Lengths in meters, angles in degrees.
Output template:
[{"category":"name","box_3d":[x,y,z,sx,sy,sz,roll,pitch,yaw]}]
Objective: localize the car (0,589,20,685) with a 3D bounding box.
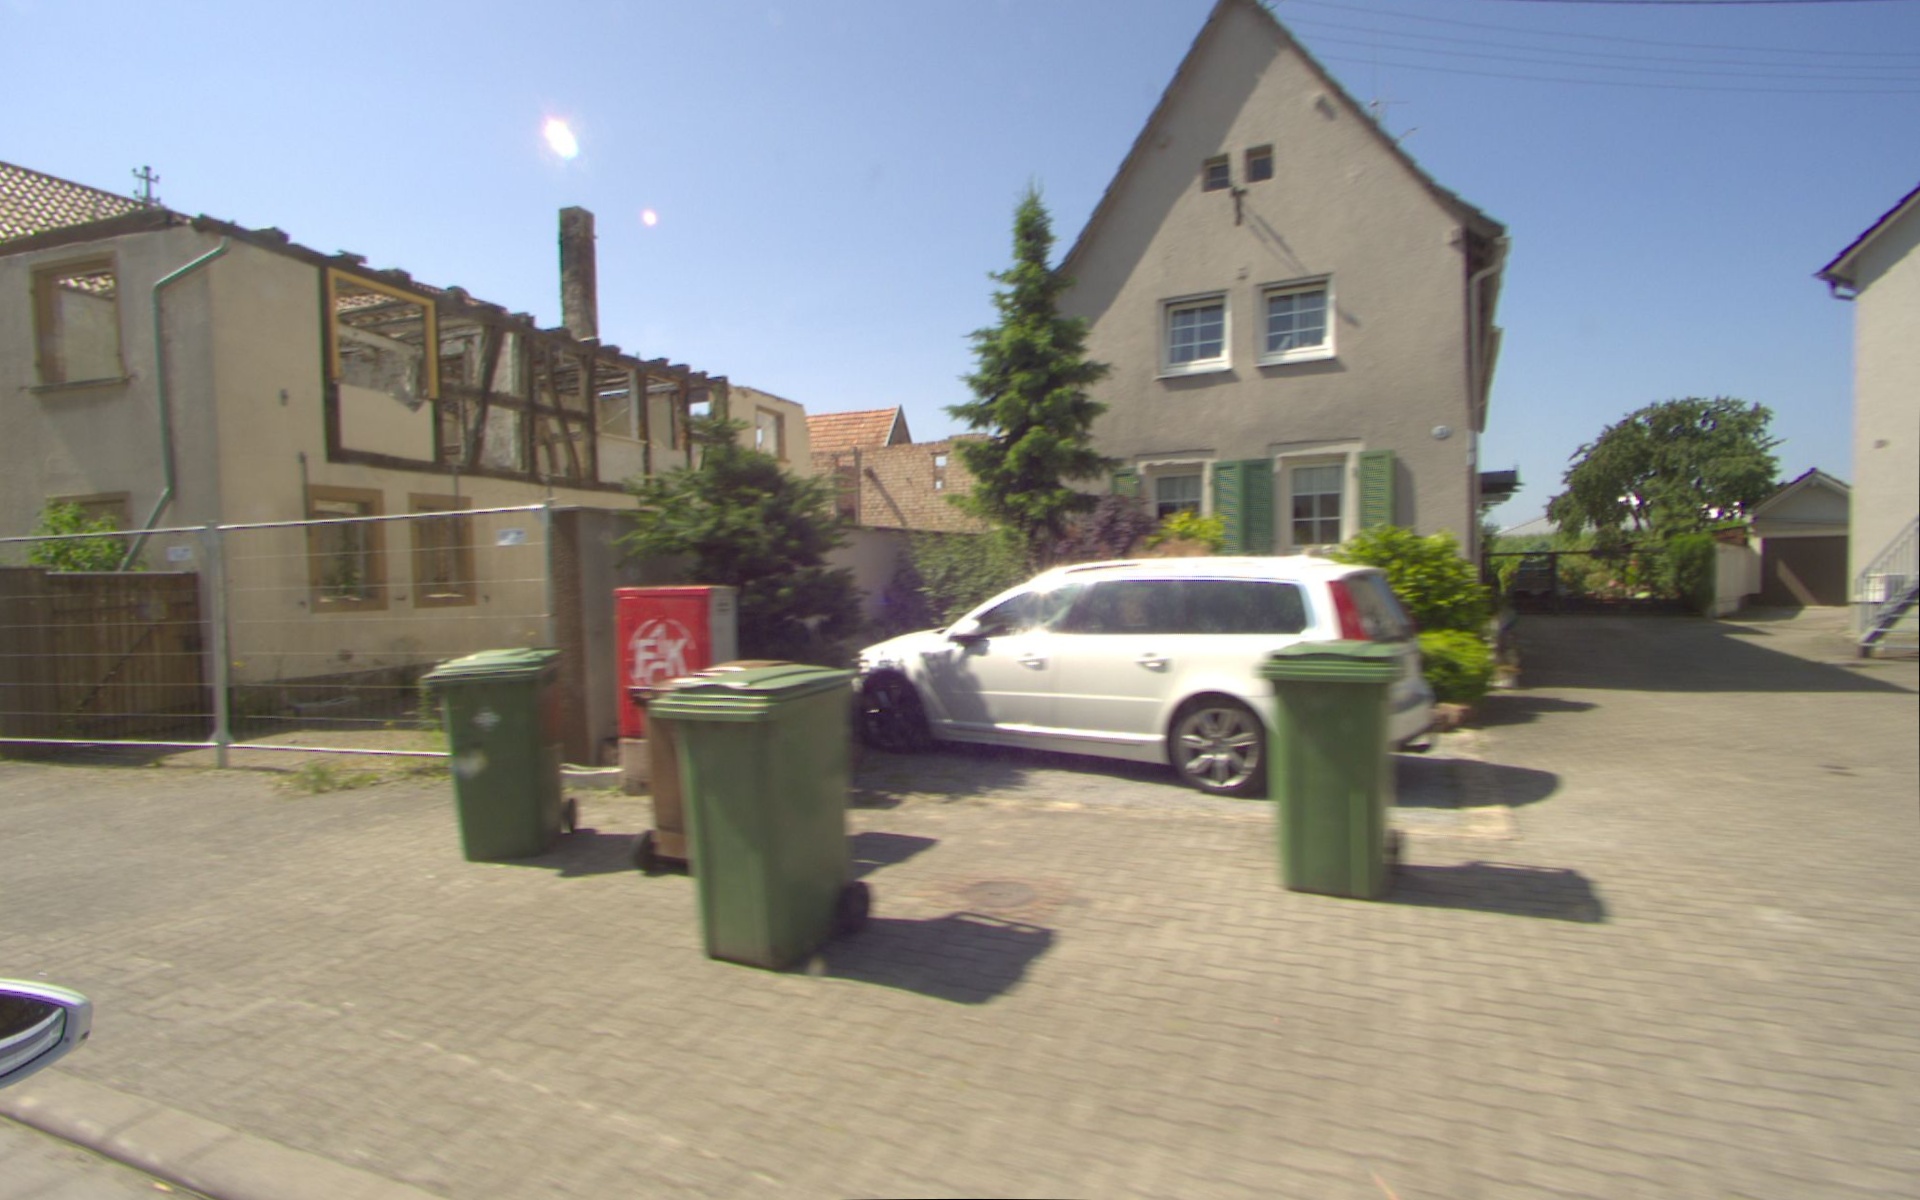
[{"category":"car","box_3d":[-16.728,0.694,14.511,1.836,1.528,4.092,-1,2,17]}]

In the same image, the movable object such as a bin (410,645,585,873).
[{"category":"movable object such as a bin","box_3d":[-2.491,0.822,5.480,0.660,1.087,0.761,-2,2,-10]}]

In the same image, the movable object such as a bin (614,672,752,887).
[{"category":"movable object such as a bin","box_3d":[-1.376,0.862,4.992,0.455,0.962,0.443,0,2,31]}]

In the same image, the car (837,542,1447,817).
[{"category":"car","box_3d":[1.224,0.415,7.654,4.242,1.549,1.803,0,3,38]}]

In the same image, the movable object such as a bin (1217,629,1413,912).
[{"category":"movable object such as a bin","box_3d":[1.613,0.700,4.505,0.743,1.096,0.719,0,2,27]}]

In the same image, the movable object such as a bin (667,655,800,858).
[{"category":"movable object such as a bin","box_3d":[-1.205,0.808,5.361,0.489,0.984,0.464,0,2,30]}]

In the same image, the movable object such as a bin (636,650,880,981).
[{"category":"movable object such as a bin","box_3d":[-0.780,0.782,3.962,0.628,1.107,0.685,0,2,30]}]
